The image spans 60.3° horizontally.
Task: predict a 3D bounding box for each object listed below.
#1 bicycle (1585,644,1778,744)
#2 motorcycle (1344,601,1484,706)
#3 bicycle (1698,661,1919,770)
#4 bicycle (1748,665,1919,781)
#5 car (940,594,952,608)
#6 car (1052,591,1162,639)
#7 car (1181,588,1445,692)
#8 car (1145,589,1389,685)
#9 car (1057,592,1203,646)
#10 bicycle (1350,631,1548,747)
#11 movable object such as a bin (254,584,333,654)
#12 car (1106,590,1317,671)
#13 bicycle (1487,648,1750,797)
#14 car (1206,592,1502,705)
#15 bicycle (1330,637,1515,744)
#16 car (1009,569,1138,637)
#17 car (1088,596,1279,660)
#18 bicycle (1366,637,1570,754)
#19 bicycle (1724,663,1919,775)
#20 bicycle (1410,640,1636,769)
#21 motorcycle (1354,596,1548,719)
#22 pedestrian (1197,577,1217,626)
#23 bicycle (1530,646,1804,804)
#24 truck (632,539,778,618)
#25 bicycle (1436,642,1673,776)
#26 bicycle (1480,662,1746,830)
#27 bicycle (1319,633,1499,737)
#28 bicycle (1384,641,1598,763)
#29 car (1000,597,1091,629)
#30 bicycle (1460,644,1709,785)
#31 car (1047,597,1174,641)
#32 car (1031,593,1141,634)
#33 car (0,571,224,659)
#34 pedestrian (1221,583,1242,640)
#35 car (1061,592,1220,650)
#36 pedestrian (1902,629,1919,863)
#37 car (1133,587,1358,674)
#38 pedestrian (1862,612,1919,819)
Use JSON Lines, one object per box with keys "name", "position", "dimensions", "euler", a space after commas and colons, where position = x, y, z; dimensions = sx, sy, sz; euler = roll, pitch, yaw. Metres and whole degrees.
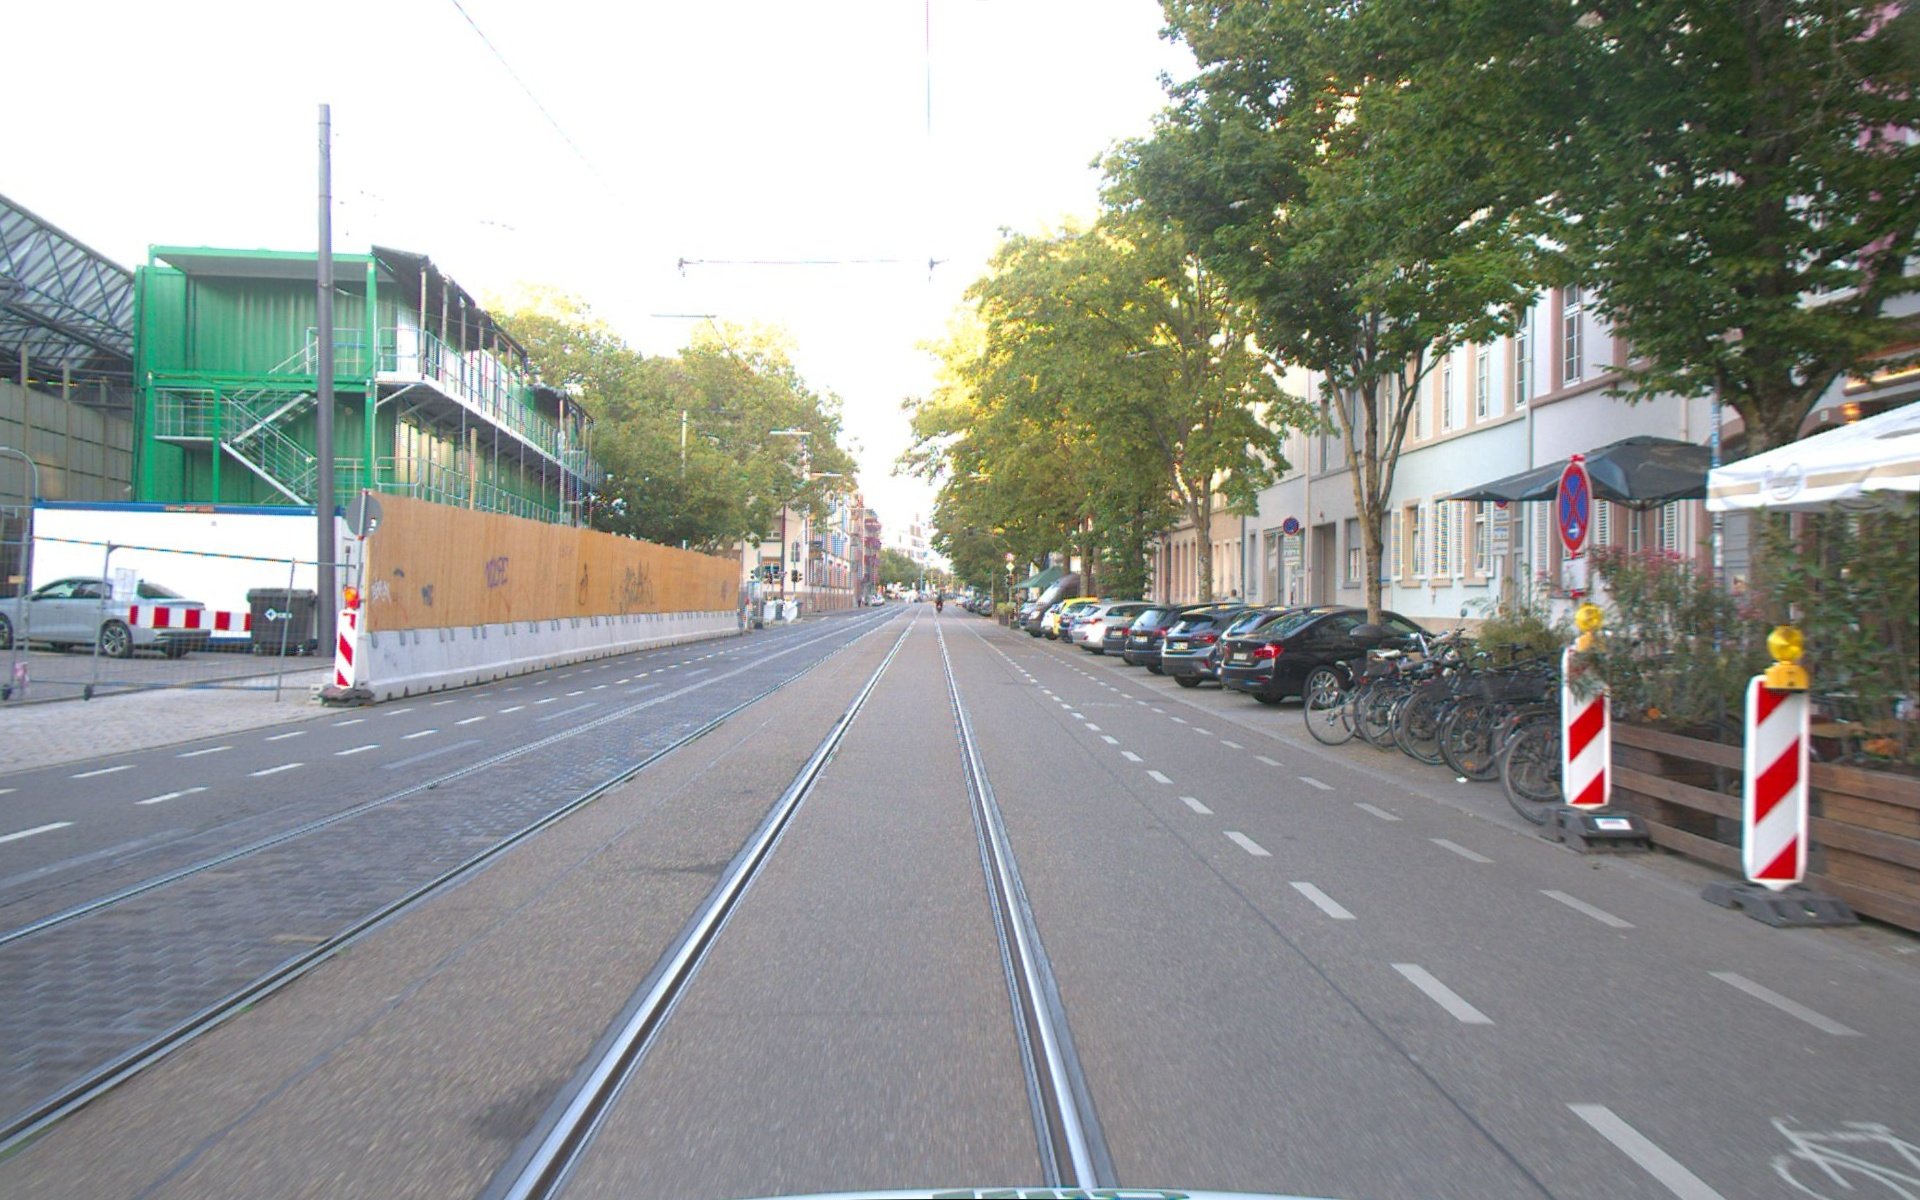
{"name": "bicycle", "position": [7.207, 0.936, 16.542], "dimensions": [1.779, 0.888, 0.325], "euler": [-3, 0, -3]}
{"name": "motorcycle", "position": [6.203, 0.718, 22.638], "dimensions": [1.750, 1.367, 0.533], "euler": [-1, 0, -3]}
{"name": "bicycle", "position": [7.240, 0.983, 14.096], "dimensions": [1.779, 0.888, 0.325], "euler": [1, -1, -3]}
{"name": "bicycle", "position": [7.258, 0.979, 13.206], "dimensions": [1.779, 0.888, 0.387], "euler": [1, -1, -3]}
{"name": "car", "position": [-2.174, 0.126, 257.172], "dimensions": [1.859, 2.049, 3.999], "euler": [1, 0, -1]}
{"name": "car", "position": [5.457, 0.553, 61.699], "dimensions": [3.870, 1.648, 1.920], "euler": [-1, 0, -1]}
{"name": "car", "position": [5.953, 0.643, 28.044], "dimensions": [3.887, 1.496, 1.991], "euler": [-3, 1, -18]}
{"name": "car", "position": [5.634, 0.649, 30.407], "dimensions": [4.059, 1.496, 1.811], "euler": [-3, 1, -22]}
{"name": "car", "position": [5.366, 0.593, 52.147], "dimensions": [4.195, 1.588, 1.883], "euler": [-1, 0, -24]}
{"name": "bicycle", "position": [5.139, 0.925, 17.453], "dimensions": [1.849, 1.086, 0.674], "euler": [-3, 0, -3]}
{"name": "movable object such as a bin", "position": [-13.490, 0.386, 33.504], "dimensions": [1.280, 1.393, 0.783], "euler": [1, 0, -5]}
{"name": "car", "position": [5.406, 0.627, 35.605], "dimensions": [4.065, 1.496, 1.999], "euler": [-3, 1, -26]}
{"name": "bicycle", "position": [5.270, 0.969, 13.292], "dimensions": [1.849, 1.049, 0.608], "euler": [-3, 0, -3]}
{"name": "car", "position": [6.037, 0.695, 25.381], "dimensions": [4.101, 1.451, 1.813], "euler": [-3, 1, -20]}
{"name": "bicycle", "position": [5.057, 0.983, 18.133], "dimensions": [1.826, 1.049, 0.591], "euler": [-3, 0, -4]}
{"name": "car", "position": [4.802, 0.119, 70.095], "dimensions": [5.016, 2.689, 2.011], "euler": [-1, 0, -18]}
{"name": "car", "position": [5.416, 0.657, 40.108], "dimensions": [4.196, 1.416, 2.000], "euler": [-1, 0, -25]}
{"name": "bicycle", "position": [5.121, 0.954, 16.723], "dimensions": [1.849, 1.049, 0.608], "euler": [-3, 0, -3]}
{"name": "bicycle", "position": [7.265, 0.981, 13.661], "dimensions": [1.779, 0.888, 0.325], "euler": [1, -1, -3]}
{"name": "bicycle", "position": [5.193, 0.954, 15.308], "dimensions": [1.849, 1.049, 0.608], "euler": [-3, 0, -3]}
{"name": "motorcycle", "position": [6.319, 0.717, 21.354], "dimensions": [2.178, 1.487, 0.967], "euler": [-1, 0, -3]}
{"name": "pedestrian", "position": [8.072, 0.060, 54.105], "dimensions": [0.527, 1.595, 0.813], "euler": [0, 0, 1]}
{"name": "bicycle", "position": [5.309, 0.926, 12.466], "dimensions": [1.779, 1.049, 0.608], "euler": [-3, 0, -3]}
{"name": "truck", "position": [-12.704, -1.078, 82.966], "dimensions": [6.919, 3.541, 2.539], "euler": [3, 0, -5]}
{"name": "bicycle", "position": [5.241, 0.947, 14.639], "dimensions": [1.849, 1.049, 0.608], "euler": [-3, 0, -3]}
{"name": "bicycle", "position": [4.617, 1.021, 11.740], "dimensions": [1.645, 1.049, 0.556], "euler": [-3, 0, -3]}
{"name": "bicycle", "position": [5.074, 0.951, 18.731], "dimensions": [1.865, 1.049, 0.533], "euler": [-3, 0, -3]}
{"name": "bicycle", "position": [5.145, 0.975, 16.079], "dimensions": [1.849, 1.049, 0.608], "euler": [-3, 0, -3]}
{"name": "car", "position": [4.309, 0.650, 83.316], "dimensions": [4.123, 1.525, 1.992], "euler": [-1, 0, -26]}
{"name": "bicycle", "position": [5.261, 0.952, 13.978], "dimensions": [1.849, 1.049, 0.608], "euler": [-3, 0, -3]}
{"name": "car", "position": [5.312, 0.650, 58.306], "dimensions": [4.072, 1.450, 1.904], "euler": [-1, 0, -27]}
{"name": "car", "position": [4.993, 0.538, 65.408], "dimensions": [3.900, 1.512, 1.905], "euler": [-1, -1, -25]}
{"name": "car", "position": [-16.230, 0.264, 31.310], "dimensions": [3.910, 1.427, 1.737], "euler": [3, 1, 14]}
{"name": "pedestrian", "position": [8.824, 0.376, 53.764], "dimensions": [0.554, 1.846, 0.607], "euler": [0, 0, 0]}
{"name": "car", "position": [5.233, 0.586, 48.186], "dimensions": [4.175, 1.576, 2.014], "euler": [-1, 0, -12]}
{"name": "pedestrian", "position": [5.656, 0.829, 9.208], "dimensions": [0.491, 1.315, 0.600], "euler": [1, 0, 4]}
{"name": "car", "position": [5.725, 0.578, 33.158], "dimensions": [4.065, 1.496, 1.971], "euler": [-3, 1, -26]}
{"name": "pedestrian", "position": [6.373, 0.743, 10.912], "dimensions": [0.492, 1.315, 0.599], "euler": [0, 0, -6]}
